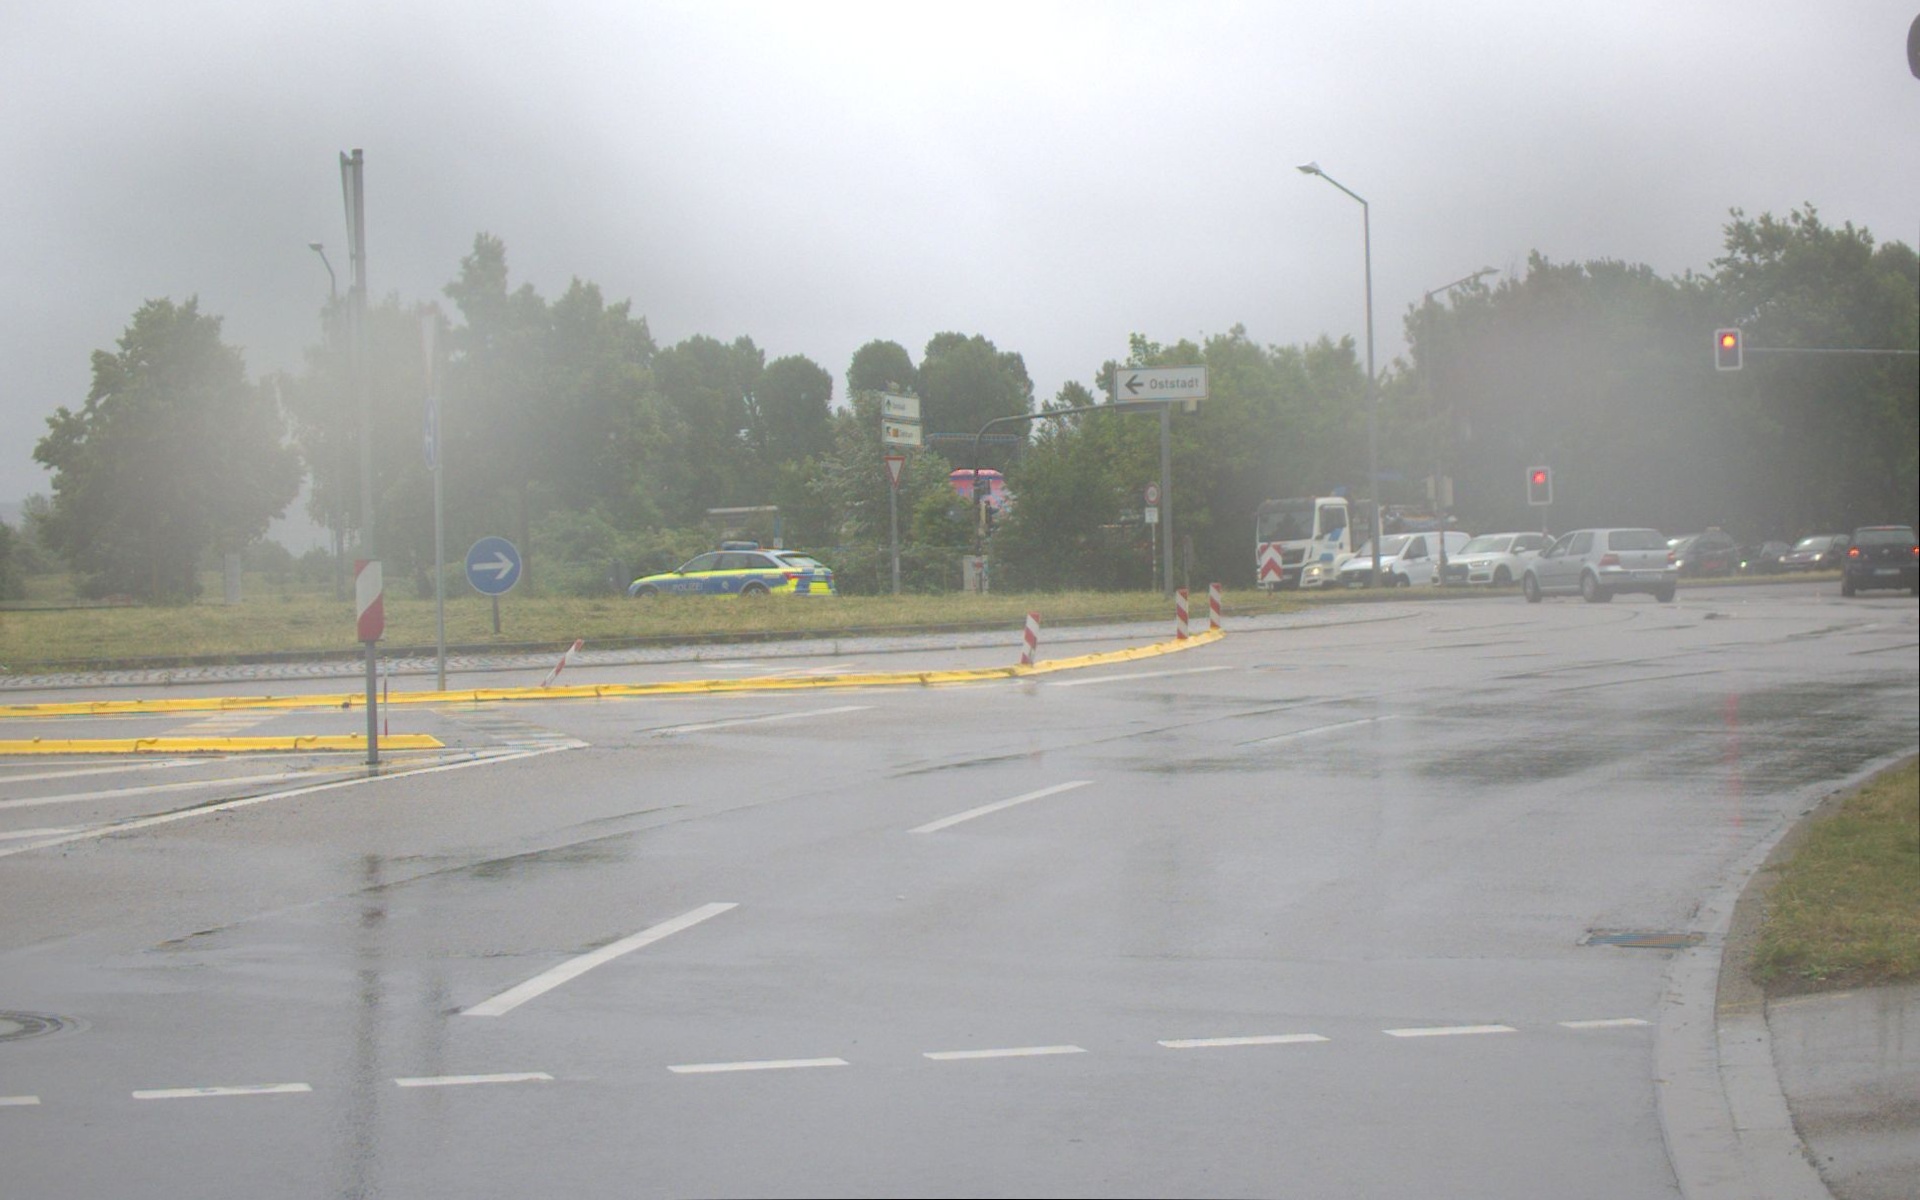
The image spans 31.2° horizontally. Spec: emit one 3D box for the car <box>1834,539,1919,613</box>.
[{"bbox_3d":[19.002,-0.511,71.030,1.619,1.449,3.986,-1,1,12],"label":"car"}]

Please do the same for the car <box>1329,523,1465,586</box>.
[{"bbox_3d":[12.261,-1.259,96.274,1.800,1.656,4.124,1,0,41],"label":"car"}]

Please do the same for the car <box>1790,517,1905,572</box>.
[{"bbox_3d":[28.414,-1.789,110.016,1.800,1.656,4.399,0,1,41],"label":"car"}]

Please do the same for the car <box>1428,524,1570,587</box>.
[{"bbox_3d":[14.860,-1.216,94.602,1.800,1.656,4.399,1,0,41],"label":"car"}]

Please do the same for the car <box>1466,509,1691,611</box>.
[{"bbox_3d":[11.854,-0.756,66.209,1.993,1.845,4.777,1,0,-22],"label":"car"}]

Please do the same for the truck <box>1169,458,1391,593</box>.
[{"bbox_3d":[7.003,-1.546,74.107,2.464,2.677,8.049,1,0,23],"label":"truck"}]

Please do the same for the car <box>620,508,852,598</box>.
[{"bbox_3d":[-4.867,-1.007,74.502,4.769,1.845,1.996,-1,1,35],"label":"car"}]

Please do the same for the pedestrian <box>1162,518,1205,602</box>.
[{"bbox_3d":[3.530,-0.632,54.316,0.453,1.300,0.485,-1,1,38],"label":"pedestrian"}]
